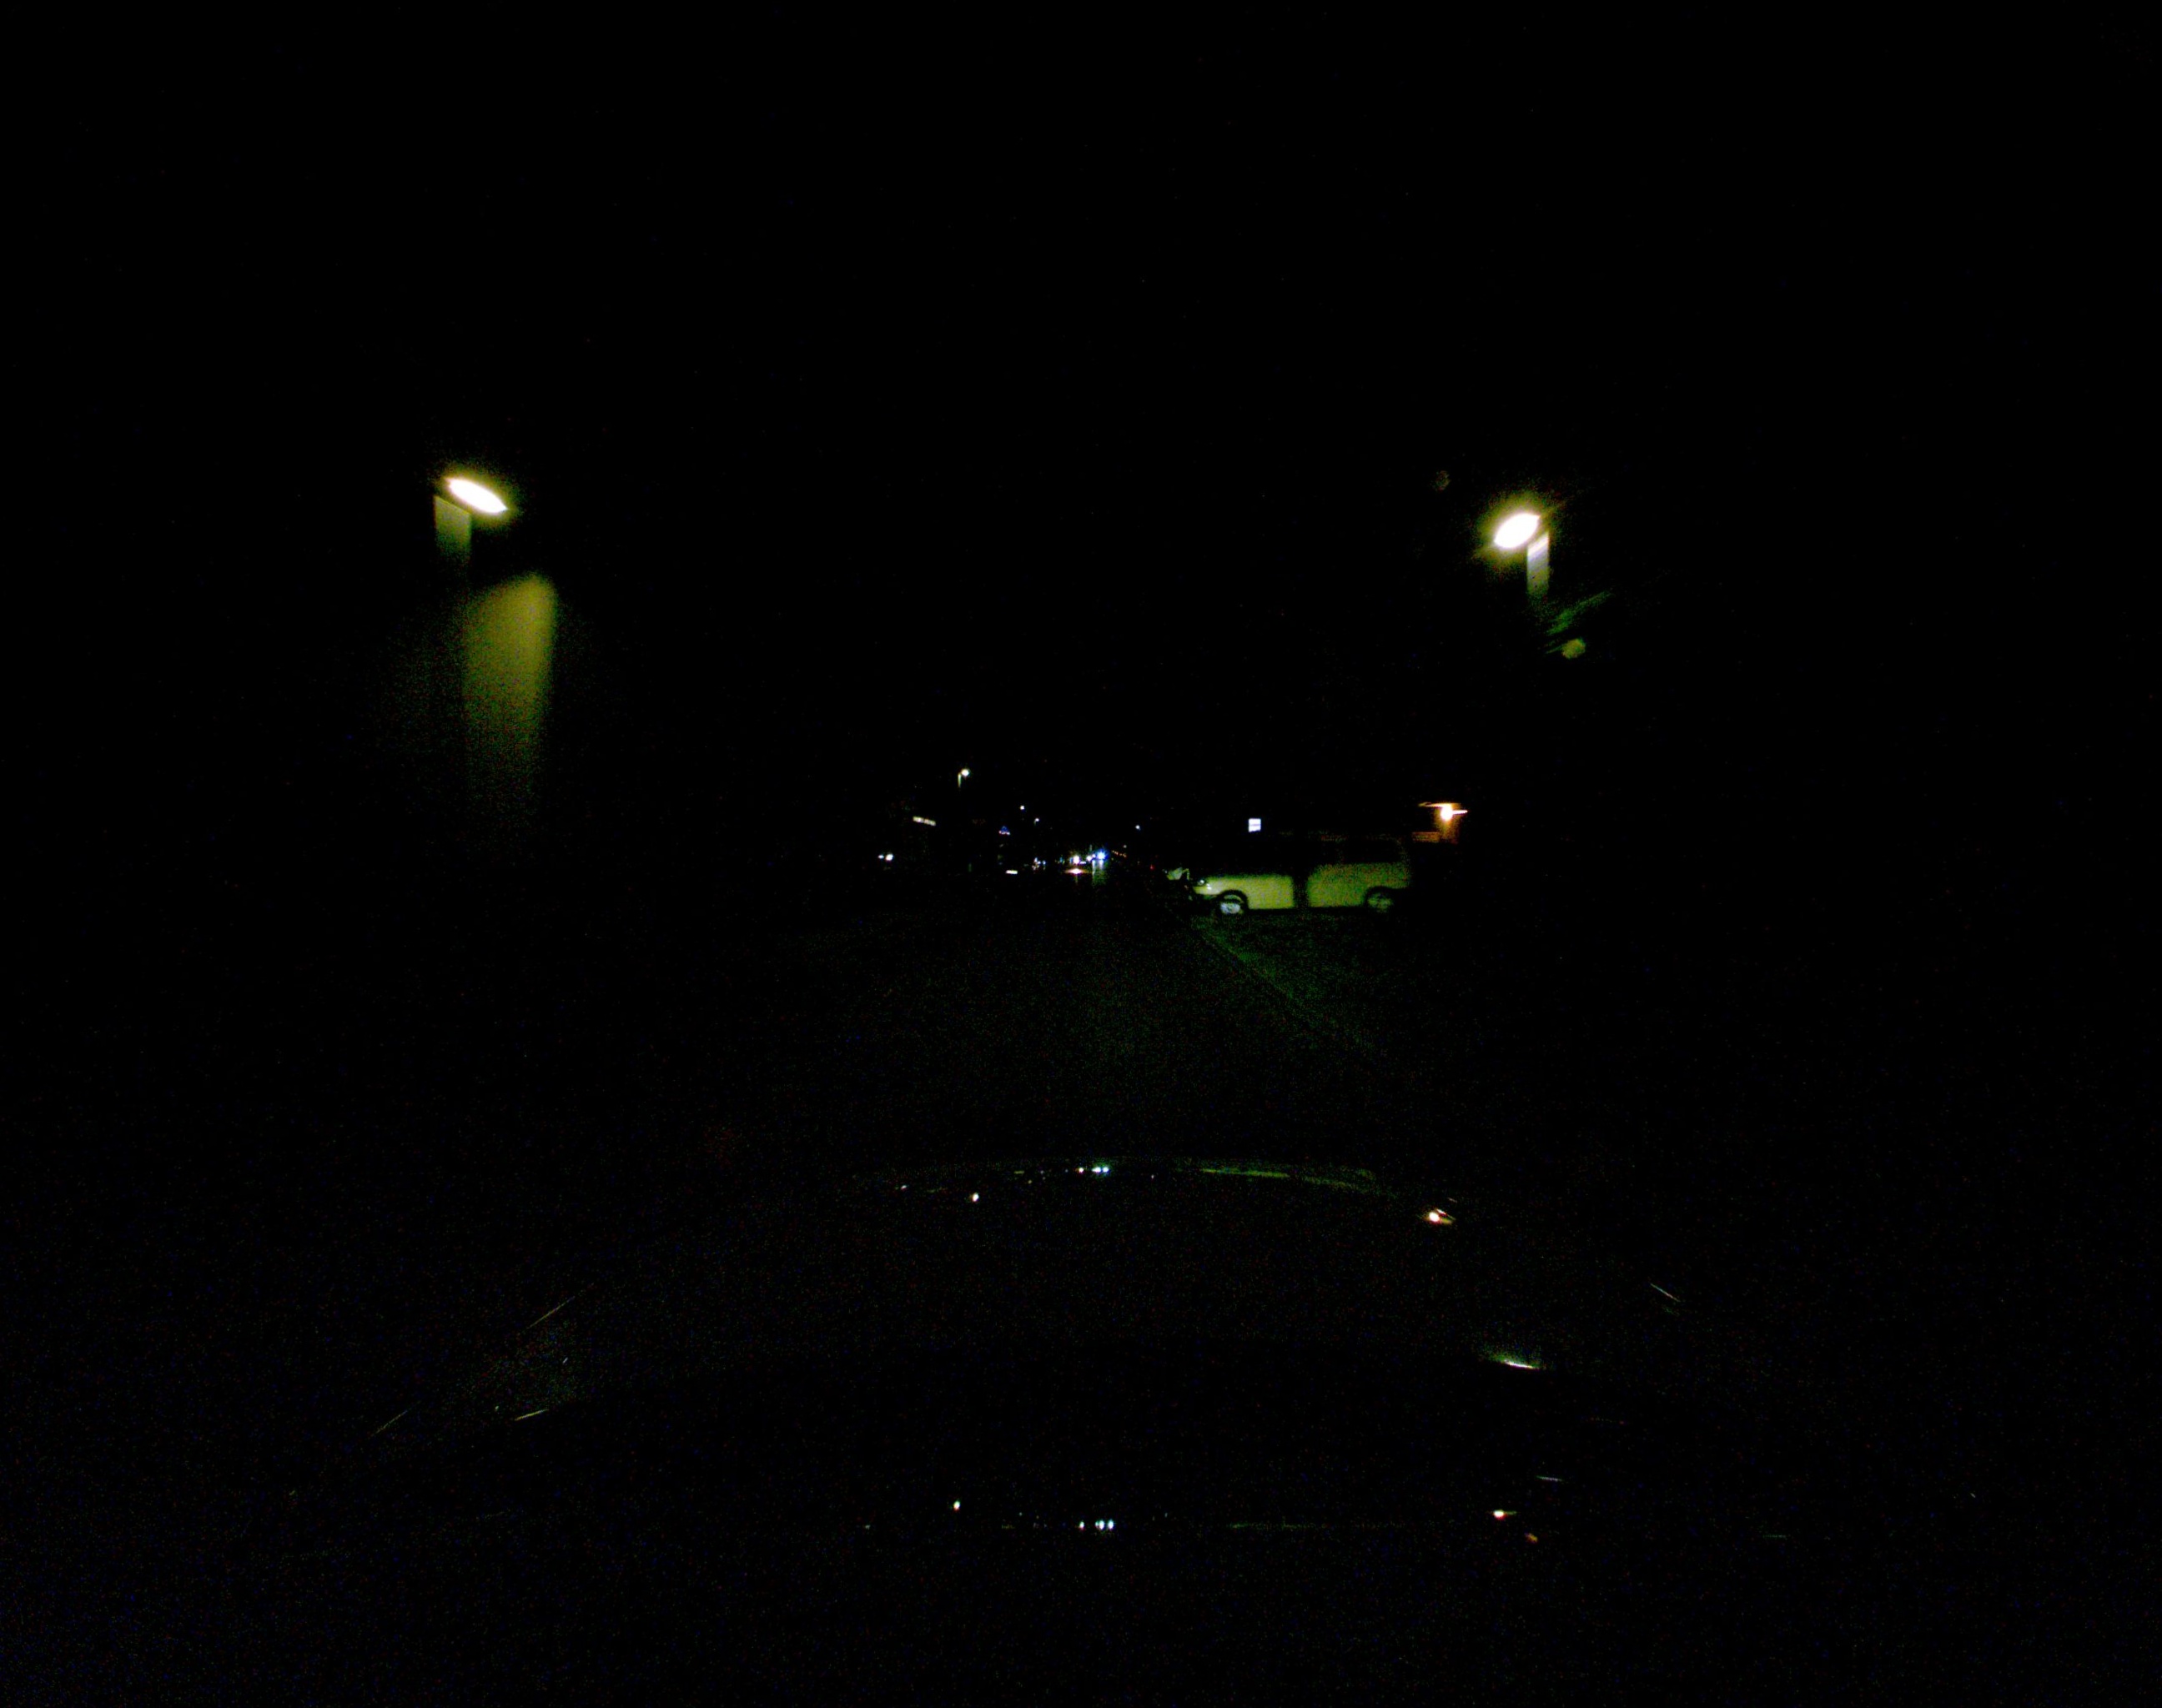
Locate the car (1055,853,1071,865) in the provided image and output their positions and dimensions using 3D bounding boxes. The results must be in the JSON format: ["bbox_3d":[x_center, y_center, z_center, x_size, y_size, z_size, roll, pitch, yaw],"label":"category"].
[{"bbox_3d":[-2.037,0.515,91.276,1.677,1.331,3.599,0,0,0],"label":"car"}]

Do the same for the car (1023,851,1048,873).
[{"bbox_3d":[-3.043,0.541,55.008,1.529,1.451,3.119,0,0,0],"label":"car"}]

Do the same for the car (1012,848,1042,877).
[{"bbox_3d":[-3.260,0.477,49.890,1.529,1.688,3.212,2,0,0],"label":"car"}]

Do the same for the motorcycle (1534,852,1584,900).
[{"bbox_3d":[14.536,0.625,24.849,1.060,1.327,2.723,0,1,25],"label":"motorcycle"}]

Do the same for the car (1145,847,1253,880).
[{"bbox_3d":[5.875,0.466,41.109,5.165,1.469,2.102,-2,0,0],"label":"car"}]

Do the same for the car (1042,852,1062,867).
[{"bbox_3d":[-2.686,0.498,75.925,1.677,1.331,3.599,0,0,0],"label":"car"}]

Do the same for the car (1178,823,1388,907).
[{"bbox_3d":[5.360,0.272,22.121,5.165,2.013,2.101,-2,0,0],"label":"car"}]

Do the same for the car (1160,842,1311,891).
[{"bbox_3d":[5.627,0.450,30.100,5.165,1.594,2.102,-2,0,0],"label":"car"}]

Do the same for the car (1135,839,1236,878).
[{"bbox_3d":[5.653,0.239,43.787,5.149,1.887,2.108,-2,0,11],"label":"car"}]

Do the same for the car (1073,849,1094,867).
[{"bbox_3d":[0.291,0.393,77.842,1.920,1.648,3.821,-1,0,0],"label":"car"}]

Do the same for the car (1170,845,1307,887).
[{"bbox_3d":[6.301,0.464,33.028,5.165,1.525,2.102,-2,0,0],"label":"car"}]

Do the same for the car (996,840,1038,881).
[{"bbox_3d":[-3.317,0.306,42.974,1.819,1.986,4.465,2,0,0],"label":"car"}]

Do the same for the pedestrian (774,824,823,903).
[{"bbox_3d":[-7.459,0.240,21.543,0.782,2.013,1.205,1,0,2],"label":"pedestrian"}]

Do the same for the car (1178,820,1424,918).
[{"bbox_3d":[4.995,0.319,19.062,5.165,2.013,2.101,-2,0,0],"label":"car"}]

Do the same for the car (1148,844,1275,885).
[{"bbox_3d":[5.621,0.445,35.595,5.165,1.594,2.102,-2,0,0],"label":"car"}]
